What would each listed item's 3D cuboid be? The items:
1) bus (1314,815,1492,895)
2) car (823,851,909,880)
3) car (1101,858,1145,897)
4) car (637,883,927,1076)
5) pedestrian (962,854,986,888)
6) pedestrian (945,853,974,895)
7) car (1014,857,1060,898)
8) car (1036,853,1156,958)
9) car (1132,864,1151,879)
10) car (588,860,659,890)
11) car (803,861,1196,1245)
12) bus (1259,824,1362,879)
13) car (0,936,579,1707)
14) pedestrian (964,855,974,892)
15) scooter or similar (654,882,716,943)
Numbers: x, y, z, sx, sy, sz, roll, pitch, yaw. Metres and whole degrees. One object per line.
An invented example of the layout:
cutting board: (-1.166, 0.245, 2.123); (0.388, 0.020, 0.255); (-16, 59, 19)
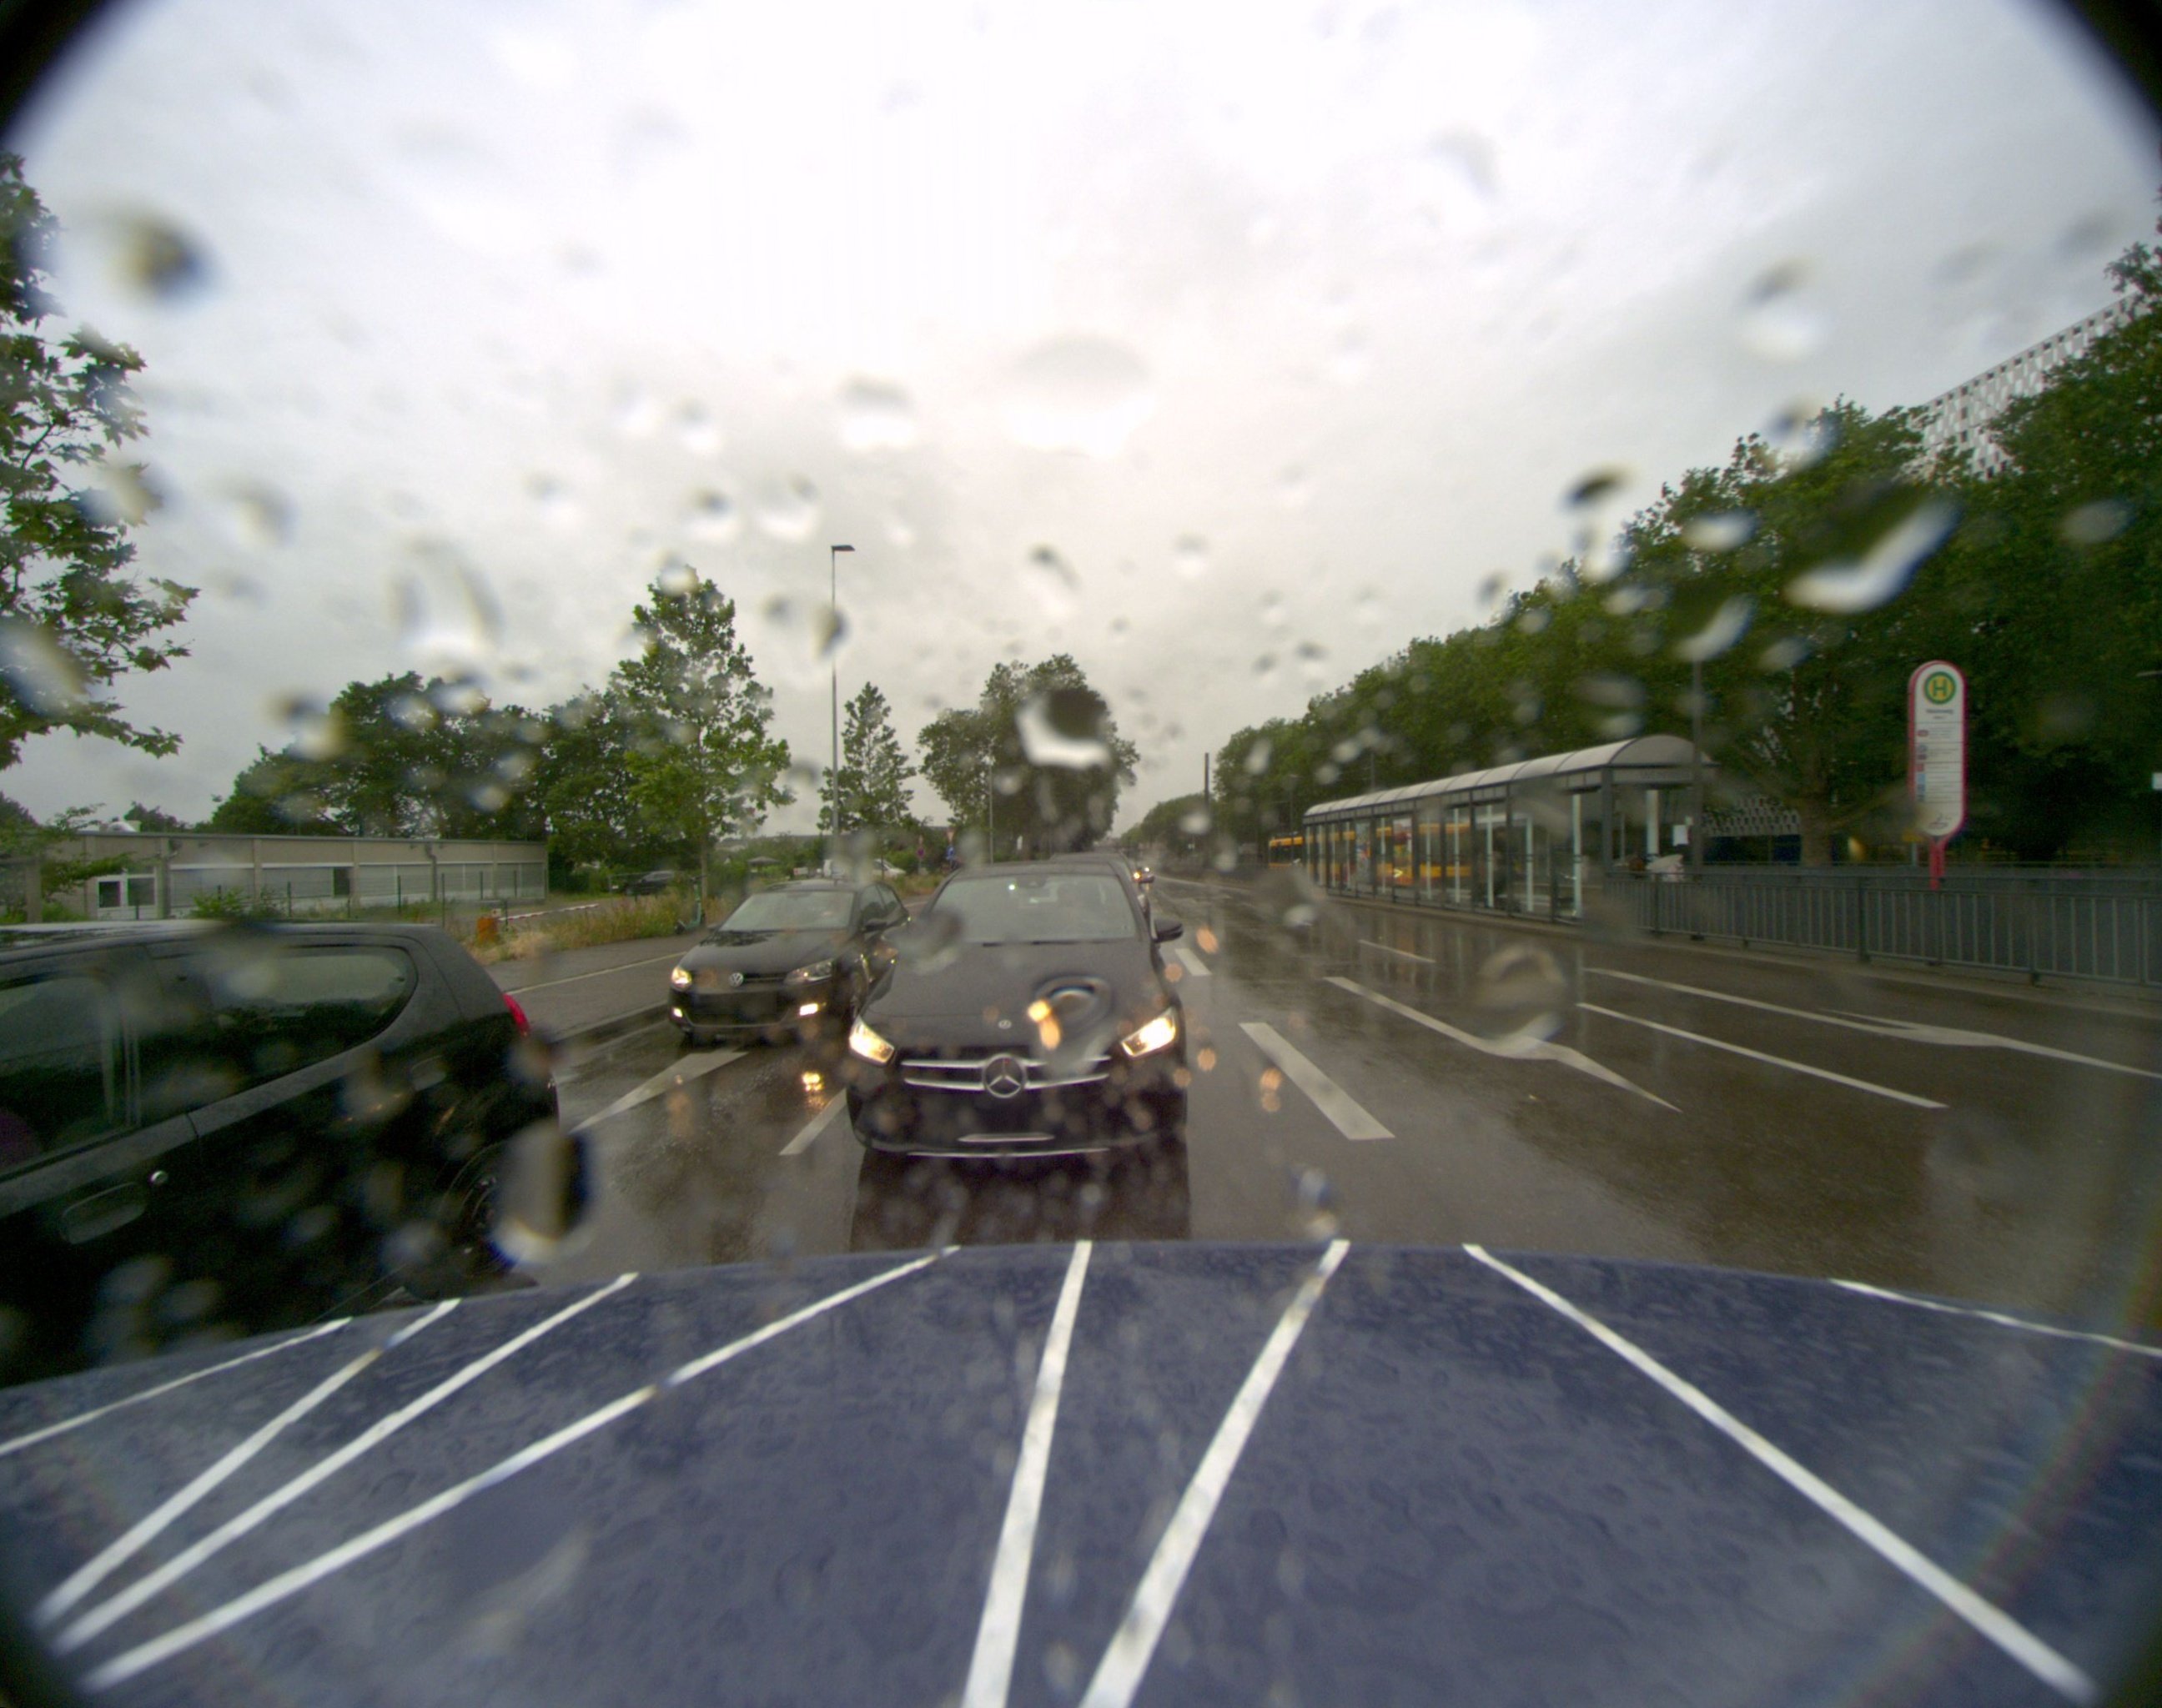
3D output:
bus: (16.124, -0.035, 40.104); (2.938, 3.310, 15.061); (-2, 1, 0)
car: (-13.492, 0.708, 47.901); (4.759, 1.640, 1.999); (-2, 1, -2)
car: (1.902, 1.036, 35.608); (1.794, 1.597, 3.999); (-2, 1, 0)
car: (-2.860, 1.116, 8.143); (1.633, 1.420, 3.624); (-2, 0, 0)
pedestrian: (-5.333, 0.843, 37.968); (1.025, 1.698, 0.891); (1, 1, 0)
pedestrian: (-5.208, 0.848, 32.569); (1.082, 1.746, 0.969); (0, 1, 0)
car: (-1.893, 0.976, 33.407); (1.698, 1.565, 3.813); (-2, 1, 1)
car: (0.204, 0.727, 12.484); (1.633, 1.420, 3.624); (-2, 0, 0)
car: (6.494, 1.886, 81.996); (1.766, 1.390, 4.645); (-2, 0, 2)
car: (-33.963, 1.512, 56.526); (3.996, 2.002, 2.000); (-2, 1, 2)
car: (-0.335, 0.910, 5.465); (1.690, 1.578, 4.163); (-2, 1, 1)
bus: (16.177, -0.234, 55.262); (2.938, 3.310, 15.061); (-2, 1, 0)
car: (-2.991, 1.084, 1.436); (1.633, 1.420, 3.624); (-2, 0, 0)
pedestrian: (-5.119, 0.888, 34.741); (0.401, 1.652, 0.441); (1, 1, 0)
scooter or similar: (-8.210, 1.186, 15.815); (0.381, 1.123, 1.777); (0, 1, -1)
